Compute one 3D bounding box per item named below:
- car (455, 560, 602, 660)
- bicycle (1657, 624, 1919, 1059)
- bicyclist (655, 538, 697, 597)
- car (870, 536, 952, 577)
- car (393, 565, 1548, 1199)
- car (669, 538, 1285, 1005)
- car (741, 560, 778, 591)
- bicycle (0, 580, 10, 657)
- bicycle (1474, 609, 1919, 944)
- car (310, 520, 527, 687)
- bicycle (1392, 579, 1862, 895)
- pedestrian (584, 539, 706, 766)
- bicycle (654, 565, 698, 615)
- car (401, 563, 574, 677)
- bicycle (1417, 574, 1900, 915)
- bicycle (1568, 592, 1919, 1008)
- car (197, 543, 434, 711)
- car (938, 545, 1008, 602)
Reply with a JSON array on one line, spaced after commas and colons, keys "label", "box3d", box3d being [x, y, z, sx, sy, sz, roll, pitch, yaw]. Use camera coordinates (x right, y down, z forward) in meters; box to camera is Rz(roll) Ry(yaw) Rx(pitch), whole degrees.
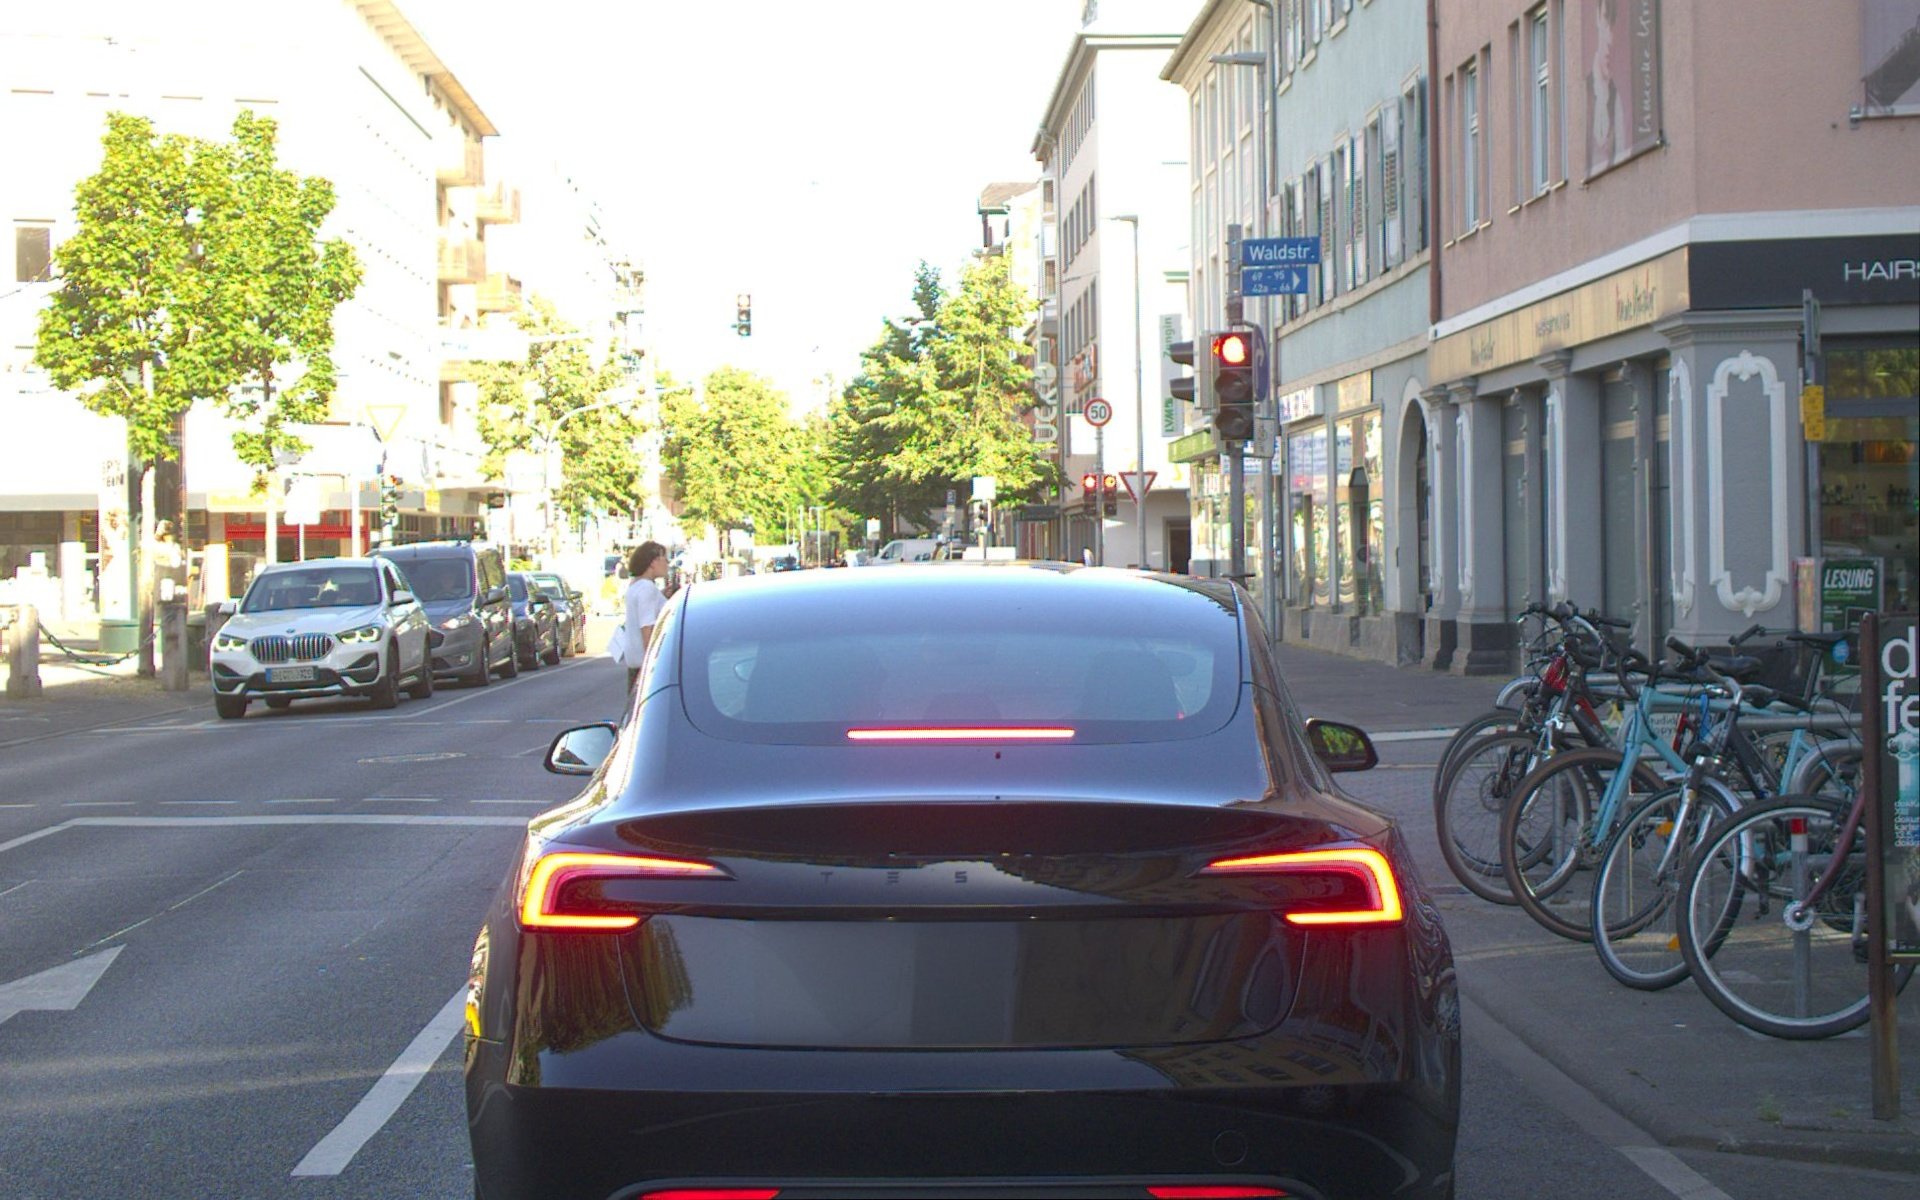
[{"label": "car", "box3d": [-7.103, 0.127, 57.037, 1.993, 1.431, 4.675, -4, 1, -3]}, {"label": "bicycle", "box3d": [3.039, 0.671, 10.000, 1.886, 1.189, 0.691, -2, 1, 5]}, {"label": "bicyclist", "box3d": [-7.902, -0.901, 95.628, 1.126, 1.623, 0.965, 0, 1, -3]}, {"label": "car", "box3d": [-2.408, -2.132, 167.567, 3.986, 2.007, 2.000, 0, 1, -2]}, {"label": "car", "box3d": [-0.003, 0.655, 7.514, 1.848, 1.450, 4.000, 0, 1, -1]}, {"label": "car", "box3d": [-0.012, 0.520, 13.222, 1.993, 1.507, 4.176, 0, 1, -2]}, {"label": "car", "box3d": [-10.929, -1.351, 187.089, 1.993, 1.631, 4.001, 0, 1, -3]}, {"label": "bicycle", "box3d": [-15.704, 0.285, 52.245, 2.323, 1.152, 0.843, 0, 1, -5]}, {"label": "bicycle", "box3d": [2.813, 0.624, 12.484, 1.798, 1.120, 0.781, -2, 1, 5]}, {"label": "car", "box3d": [-6.637, -0.005, 42.618, 1.834, 1.838, 4.674, -4, 1, 0]}, {"label": "bicycle", "box3d": [2.817, 0.571, 14.693, 1.862, 1.253, 0.832, -2, 1, 5]}, {"label": "pedestrian", "box3d": [-2.190, 0.352, 23.863, 0.747, 1.547, 0.699, 0, 1, -14]}, {"label": "bicycle", "box3d": [-7.885, -0.286, 95.544, 1.111, 1.340, 4.001, 0, 1, -3]}, {"label": "car", "box3d": [-6.738, 0.244, 49.446, 1.993, 1.405, 4.675, -4, 1, -3]}, {"label": "bicycle", "box3d": [2.747, 0.559, 13.662, 1.746, 1.262, 0.781, -2, 1, 3]}, {"label": "bicycle", "box3d": [2.893, 0.621, 11.132, 1.722, 1.263, 0.790, -2, 1, 5]}, {"label": "car", "box3d": [-6.739, 0.235, 36.337, 1.807, 1.550, 4.310, -4, 1, -3]}, {"label": "car", "box3d": [0.347, -0.791, 100.733, 1.993, 1.623, 4.000, 0, 1, 0]}]
